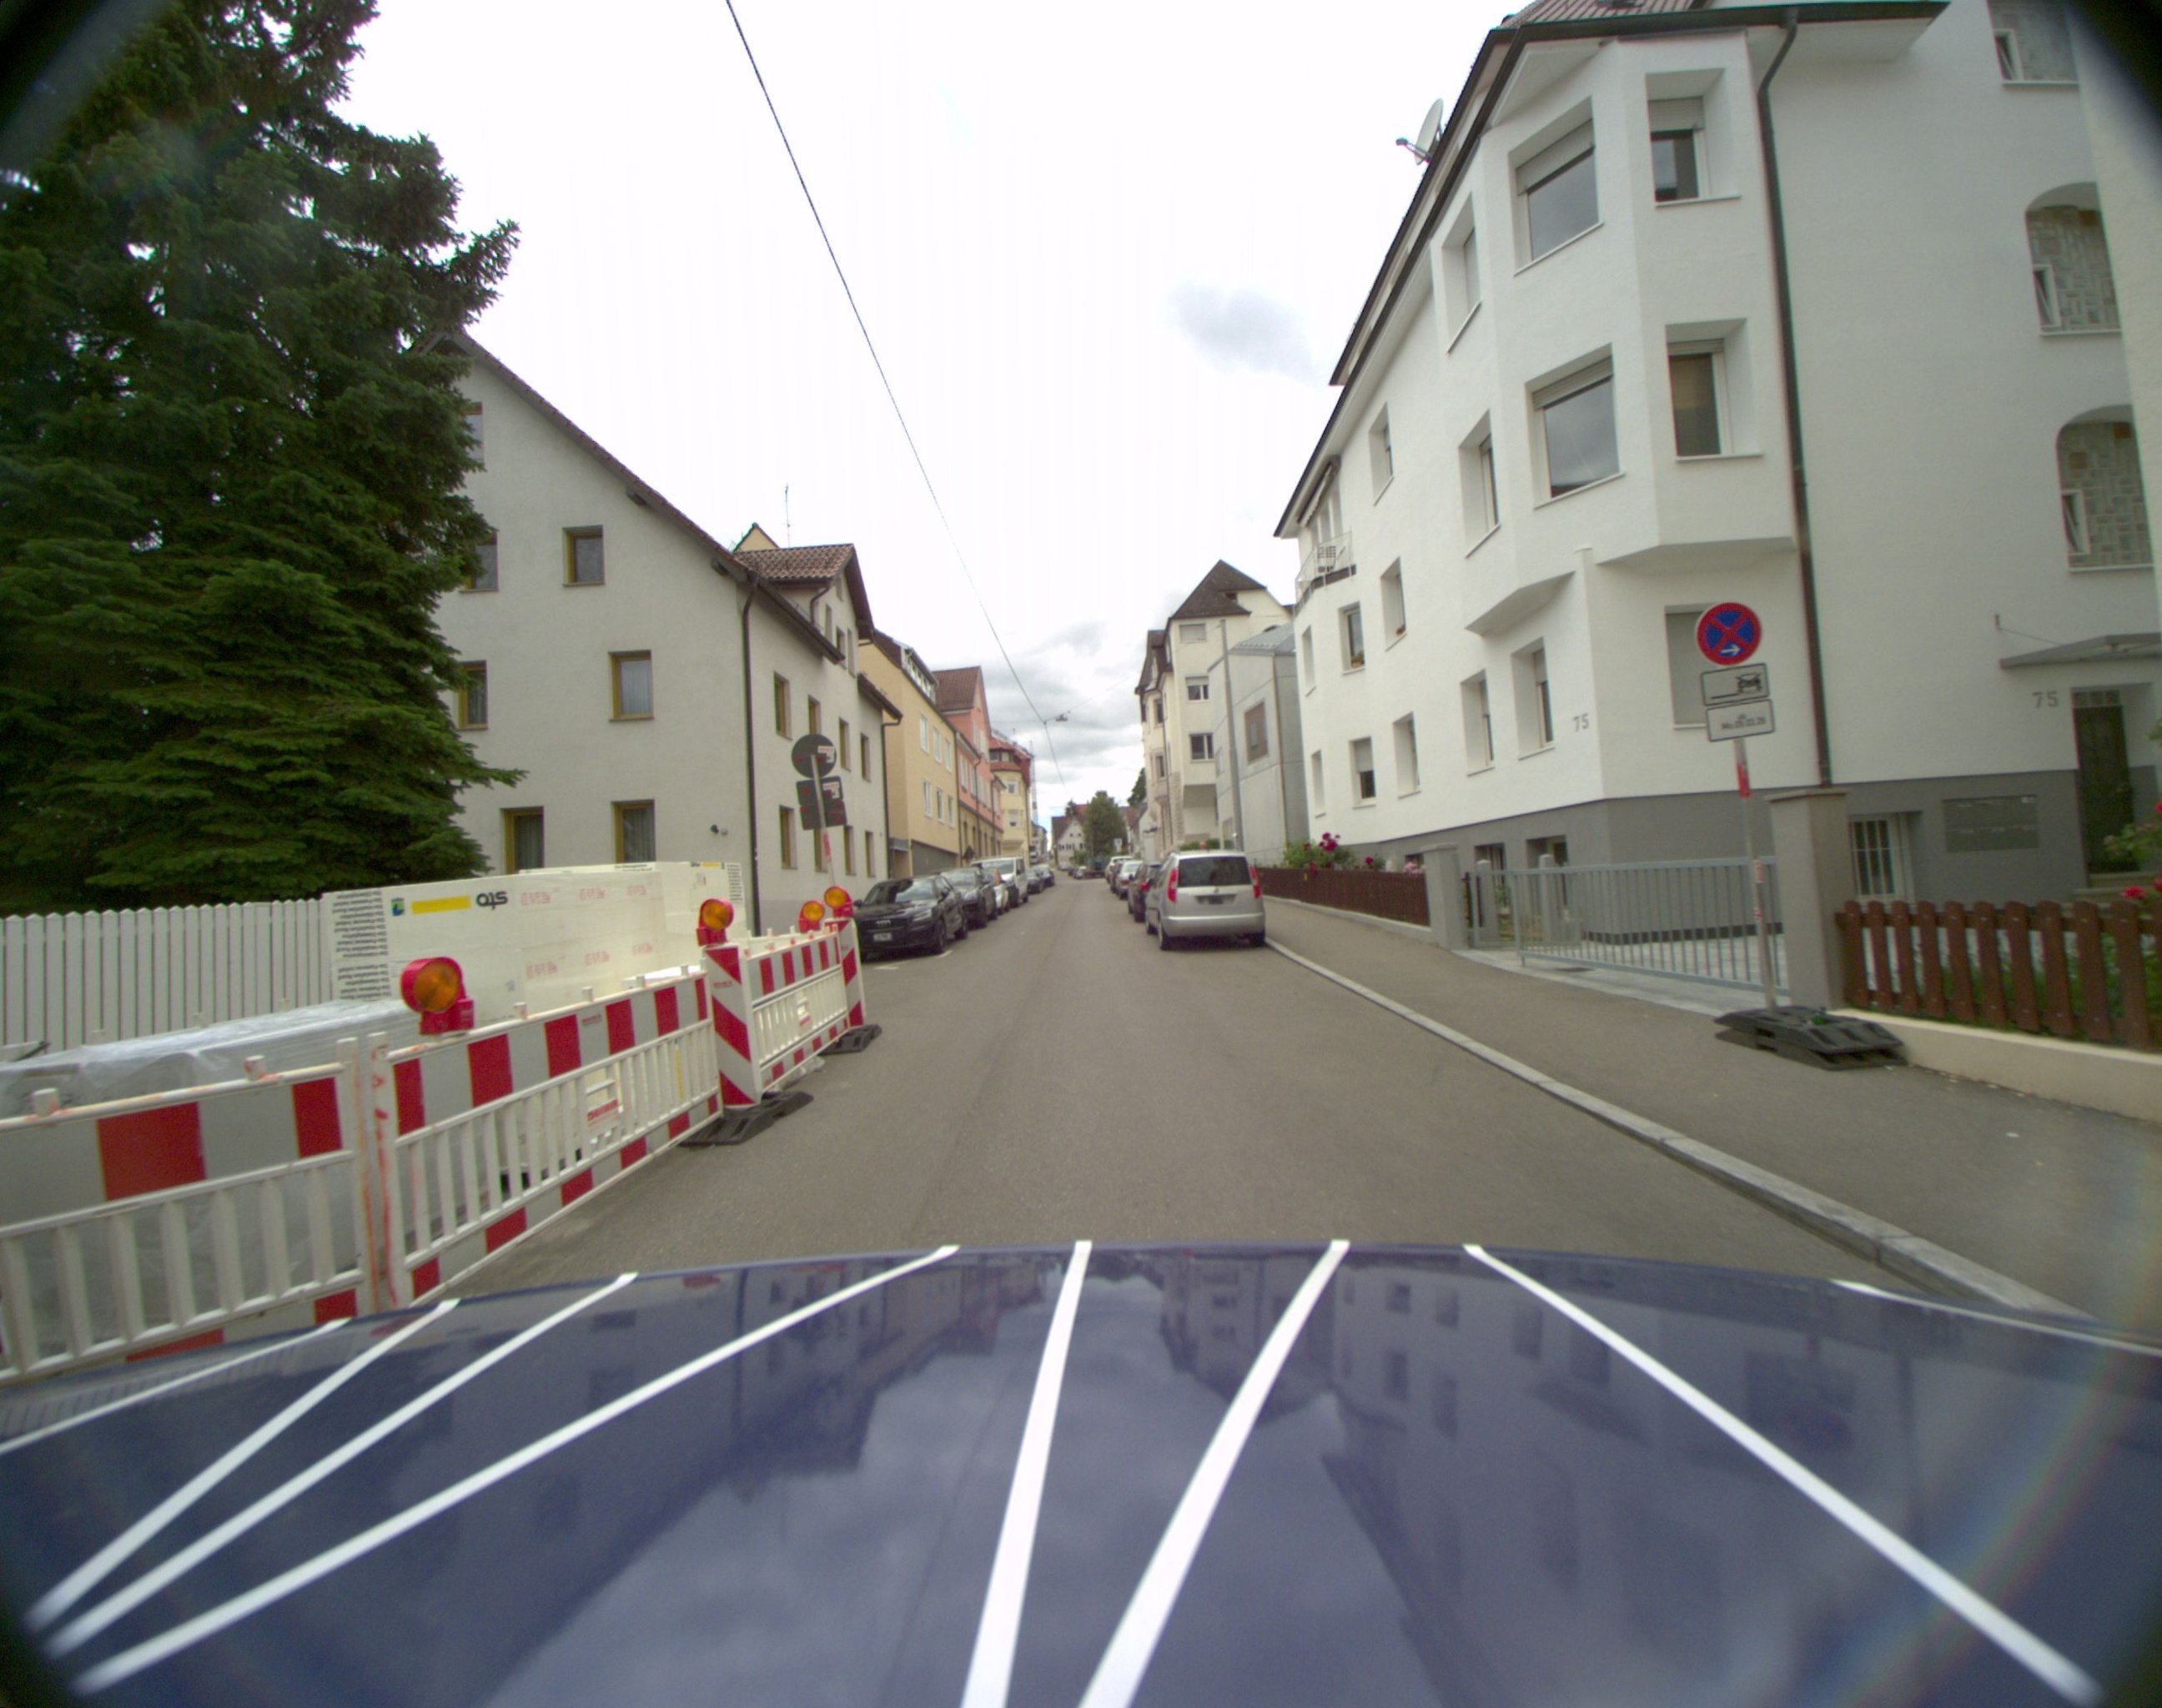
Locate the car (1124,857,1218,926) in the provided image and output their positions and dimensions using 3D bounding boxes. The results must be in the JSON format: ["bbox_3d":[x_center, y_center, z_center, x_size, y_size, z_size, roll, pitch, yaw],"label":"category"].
[{"bbox_3d":[2.147,0.846,19.244,1.849,1.449,4.504,-3,0,1],"label":"car"}]

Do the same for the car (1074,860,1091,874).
[{"bbox_3d":[0.127,1.697,97.914,1.855,1.640,3.946,-2,-2,-4],"label":"car"}]

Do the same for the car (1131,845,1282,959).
[{"bbox_3d":[2.054,0.753,13.714,1.850,1.621,4.286,-4,-1,-1],"label":"car"}]

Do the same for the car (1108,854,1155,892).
[{"bbox_3d":[2.321,0.840,35.880,1.900,1.518,4.470,-3,0,1],"label":"car"}]

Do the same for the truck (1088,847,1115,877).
[{"bbox_3d":[1.908,0.842,73.943,2.316,2.535,6.290,-2,-3,0],"label":"truck"}]

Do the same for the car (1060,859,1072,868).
[{"bbox_3d":[-2.720,1.726,140.422,1.856,1.441,3.943,-2,1,-6],"label":"car"}]

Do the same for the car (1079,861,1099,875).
[{"bbox_3d":[0.871,1.570,84.851,1.855,1.454,3.946,-2,-2,-4],"label":"car"}]

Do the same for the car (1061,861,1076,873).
[{"bbox_3d":[-1.939,1.965,115.876,1.856,1.640,3.944,-2,0,-6],"label":"car"}]

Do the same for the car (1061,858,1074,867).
[{"bbox_3d":[-2.401,1.541,134.281,1.856,1.441,3.944,-2,0,-6],"label":"car"}]

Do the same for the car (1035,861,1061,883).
[{"bbox_3d":[-2.438,1.315,56.829,1.672,1.470,3.626,-4,-1,0],"label":"car"}]

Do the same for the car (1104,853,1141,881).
[{"bbox_3d":[2.445,0.751,45.935,1.850,1.506,4.240,-4,-1,-1],"label":"car"}]

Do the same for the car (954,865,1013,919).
[{"bbox_3d":[-3.196,1.208,25.277,1.490,1.587,2.791,-5,-1,-1],"label":"car"}]

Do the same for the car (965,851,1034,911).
[{"bbox_3d":[-3.114,1.004,30.319,1.910,2.017,5.733,-5,-1,1],"label":"car"}]

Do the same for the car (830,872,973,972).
[{"bbox_3d":[-3.438,1.236,15.358,1.719,1.556,4.074,-5,-1,1],"label":"car"}]

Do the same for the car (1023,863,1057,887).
[{"bbox_3d":[-2.671,1.356,50.939,1.857,1.395,4.293,-5,-1,1],"label":"car"}]

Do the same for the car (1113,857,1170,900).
[{"bbox_3d":[2.282,0.906,29.961,1.849,1.404,5.061,-4,0,1],"label":"car"}]

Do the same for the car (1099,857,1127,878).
[{"bbox_3d":[2.253,0.967,55.224,1.703,1.405,4.240,-4,-1,-1],"label":"car"}]

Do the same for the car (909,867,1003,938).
[{"bbox_3d":[-3.299,1.220,20.875,1.717,1.587,4.499,-5,-1,-1],"label":"car"}]

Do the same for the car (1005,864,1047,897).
[{"bbox_3d":[-2.946,1.383,41.467,1.857,1.395,4.574,-7,0,-1],"label":"car"}]

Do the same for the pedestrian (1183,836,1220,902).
[{"bbox_3d":[3.551,0.448,22.351,0.817,1.873,0.848,-3,0,23],"label":"pedestrian"}]

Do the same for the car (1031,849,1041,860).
[{"bbox_3d":[-10.609,0.130,178.456,2.194,2.630,5.823,-2,0,-5],"label":"car"}]
